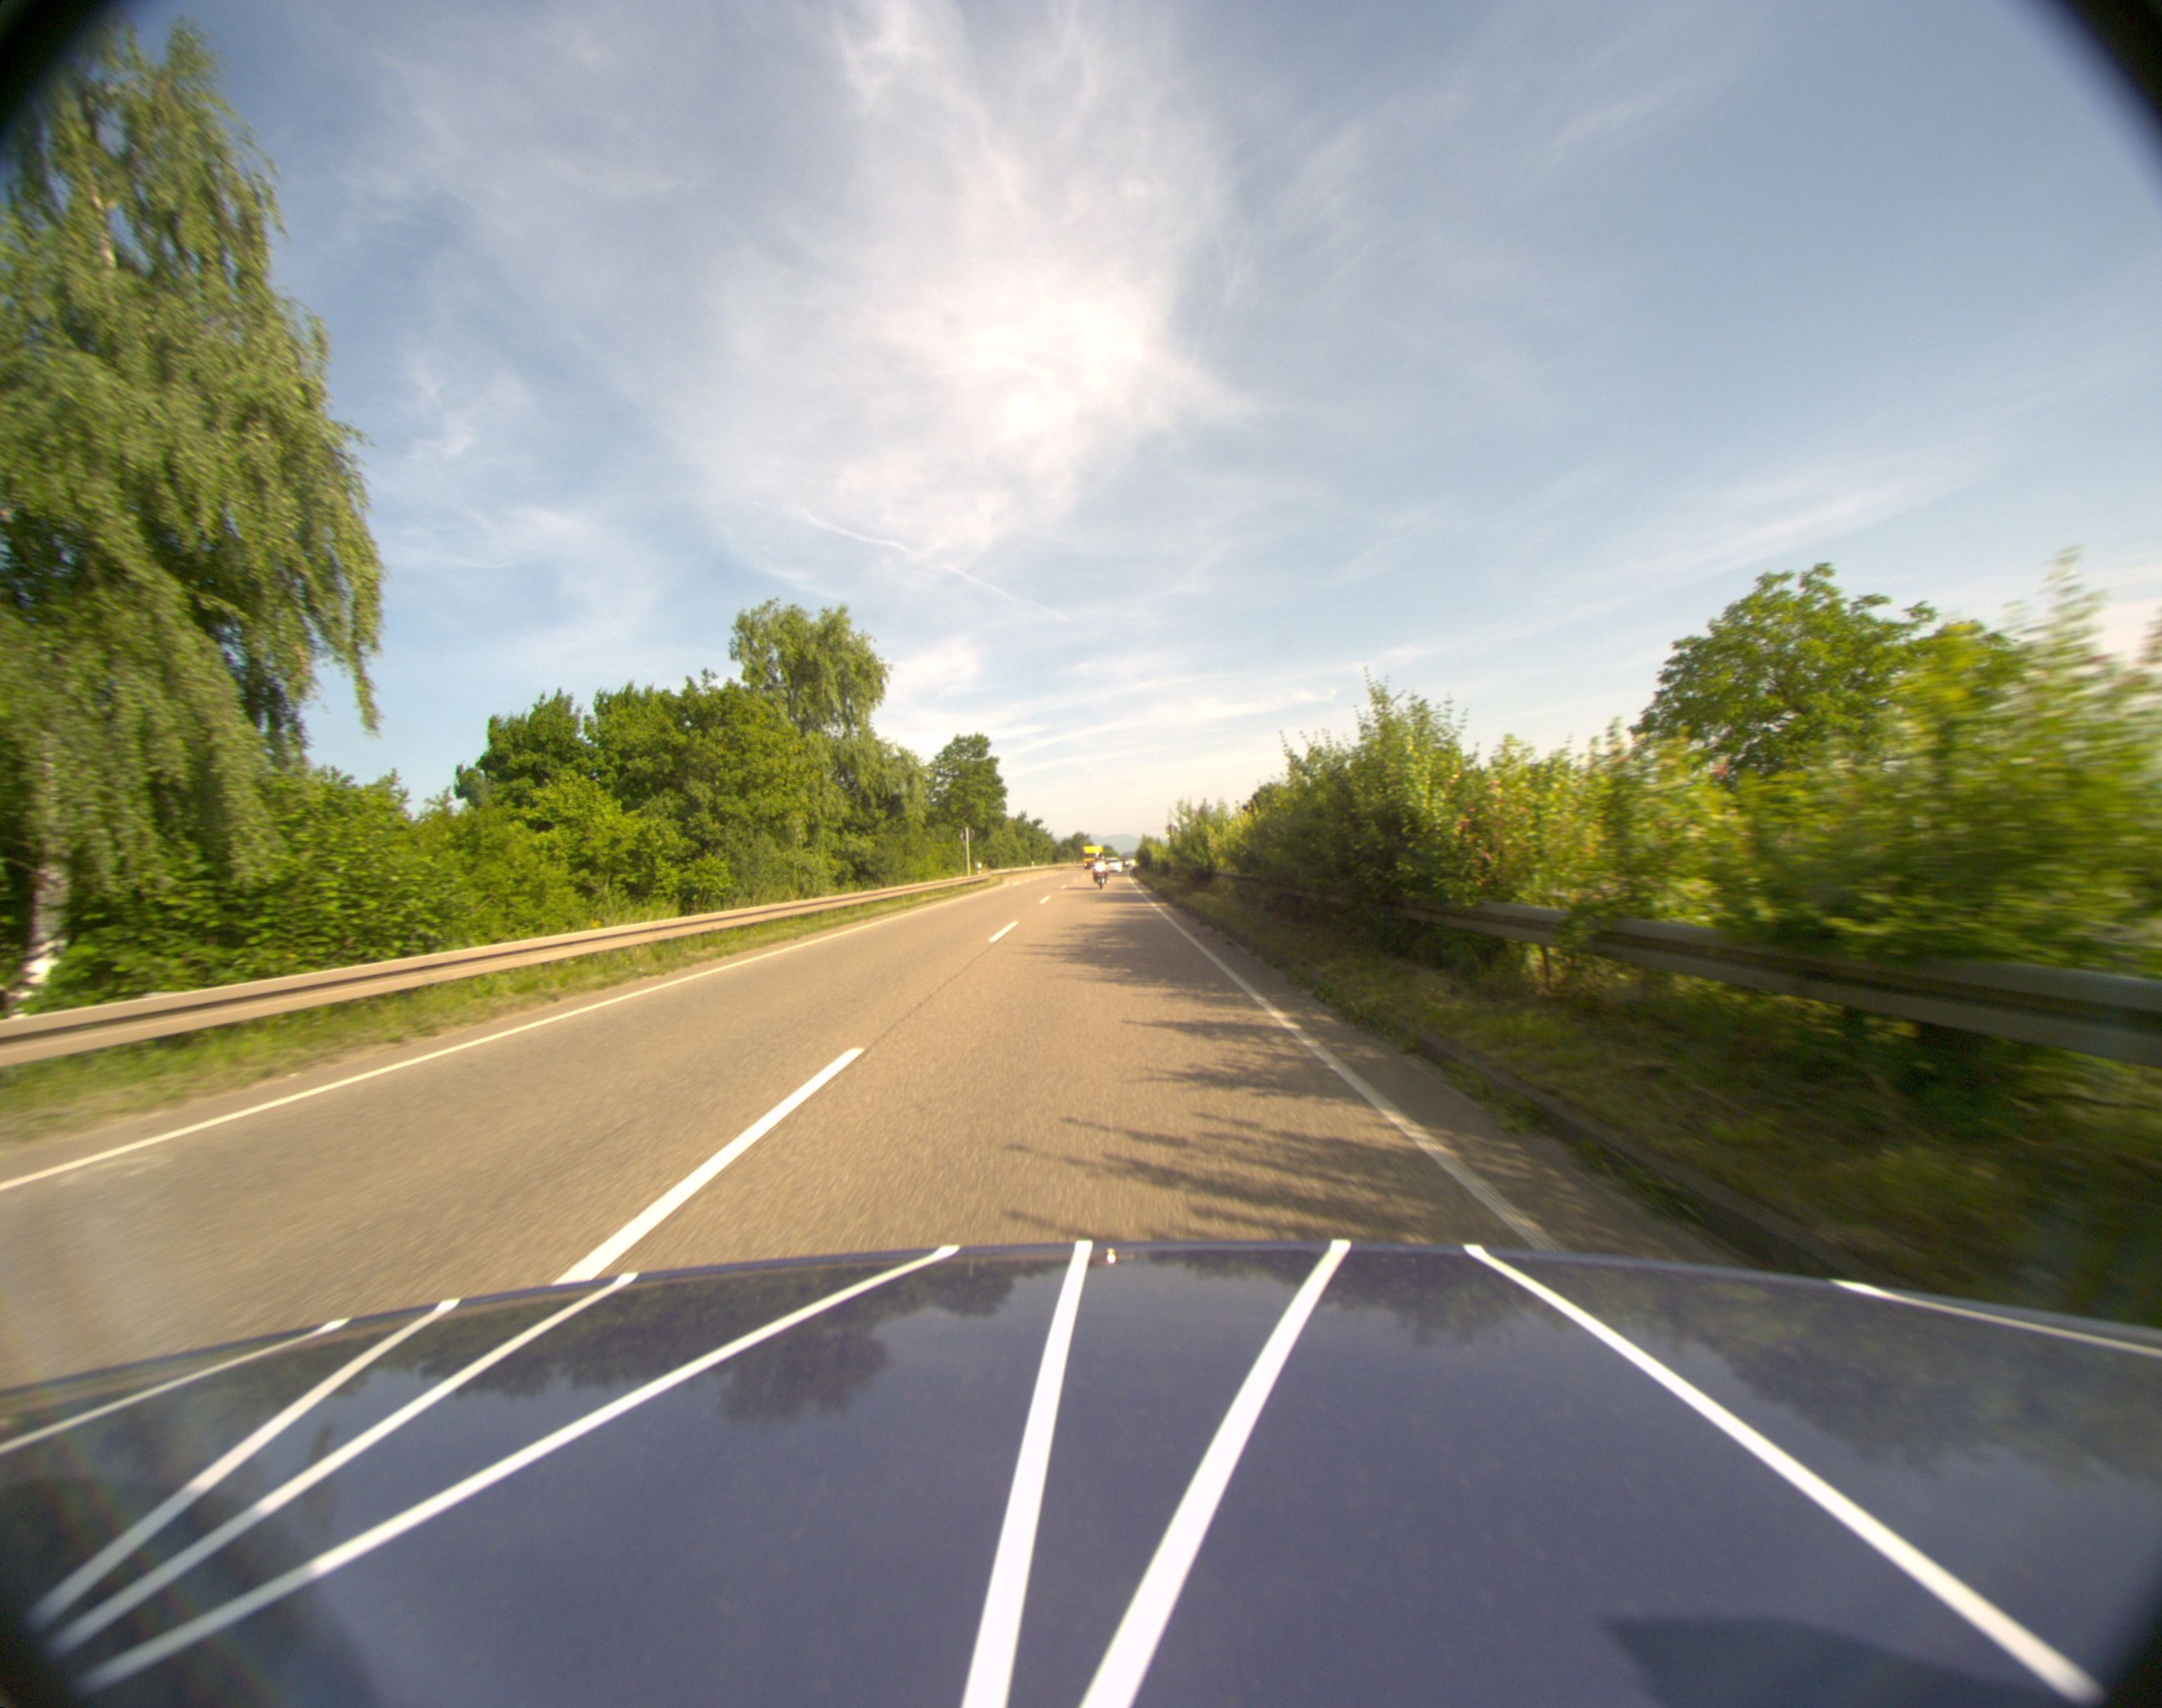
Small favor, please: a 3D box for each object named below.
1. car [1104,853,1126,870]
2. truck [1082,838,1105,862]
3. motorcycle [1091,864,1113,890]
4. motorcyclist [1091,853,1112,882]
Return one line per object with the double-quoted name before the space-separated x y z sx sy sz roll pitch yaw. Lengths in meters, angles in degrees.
"car" 3.324 0.695 73.843 1.868 1.454 4.085 -2 0 6
"truck" 1.972 -0.524 112.660 2.785 3.296 10.494 -2 -1 4
"motorcycle" 0.981 1.057 35.916 0.937 1.131 2.582 -2 0 1
"motorcyclist" 0.976 0.635 35.991 0.937 1.344 1.143 -2 0 2
